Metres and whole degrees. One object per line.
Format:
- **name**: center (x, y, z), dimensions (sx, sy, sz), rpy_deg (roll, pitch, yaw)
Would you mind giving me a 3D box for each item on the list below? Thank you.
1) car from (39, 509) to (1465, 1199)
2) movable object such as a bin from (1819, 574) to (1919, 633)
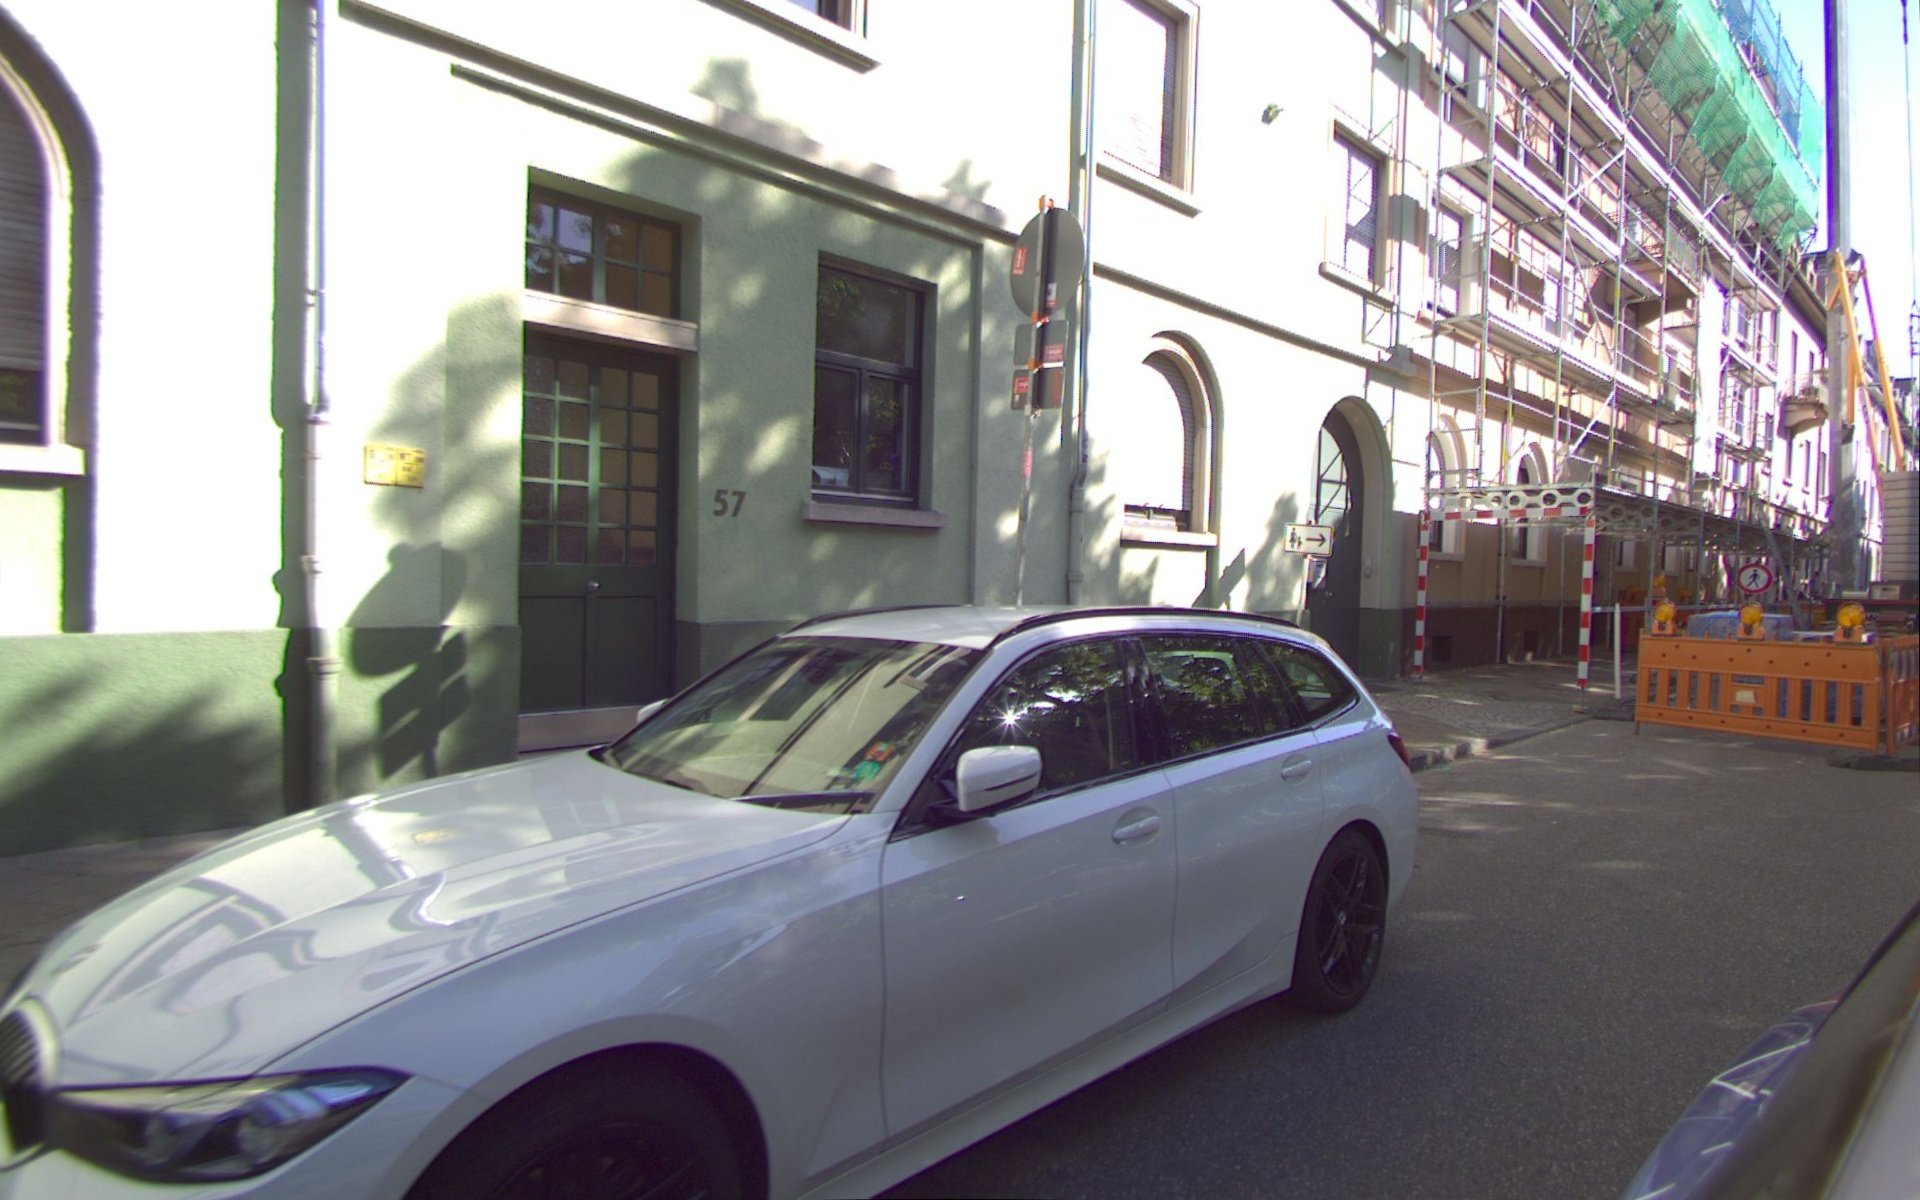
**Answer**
- **car**: center (-0.121, 0.599, 3.280), dimensions (4.210, 1.530, 1.707), rpy_deg (0, 3, -42)
- **movable object such as a bin**: center (25.753, 0.087, 28.369), dimensions (1.594, 1.545, 1.881), rpy_deg (2, 2, -8)
